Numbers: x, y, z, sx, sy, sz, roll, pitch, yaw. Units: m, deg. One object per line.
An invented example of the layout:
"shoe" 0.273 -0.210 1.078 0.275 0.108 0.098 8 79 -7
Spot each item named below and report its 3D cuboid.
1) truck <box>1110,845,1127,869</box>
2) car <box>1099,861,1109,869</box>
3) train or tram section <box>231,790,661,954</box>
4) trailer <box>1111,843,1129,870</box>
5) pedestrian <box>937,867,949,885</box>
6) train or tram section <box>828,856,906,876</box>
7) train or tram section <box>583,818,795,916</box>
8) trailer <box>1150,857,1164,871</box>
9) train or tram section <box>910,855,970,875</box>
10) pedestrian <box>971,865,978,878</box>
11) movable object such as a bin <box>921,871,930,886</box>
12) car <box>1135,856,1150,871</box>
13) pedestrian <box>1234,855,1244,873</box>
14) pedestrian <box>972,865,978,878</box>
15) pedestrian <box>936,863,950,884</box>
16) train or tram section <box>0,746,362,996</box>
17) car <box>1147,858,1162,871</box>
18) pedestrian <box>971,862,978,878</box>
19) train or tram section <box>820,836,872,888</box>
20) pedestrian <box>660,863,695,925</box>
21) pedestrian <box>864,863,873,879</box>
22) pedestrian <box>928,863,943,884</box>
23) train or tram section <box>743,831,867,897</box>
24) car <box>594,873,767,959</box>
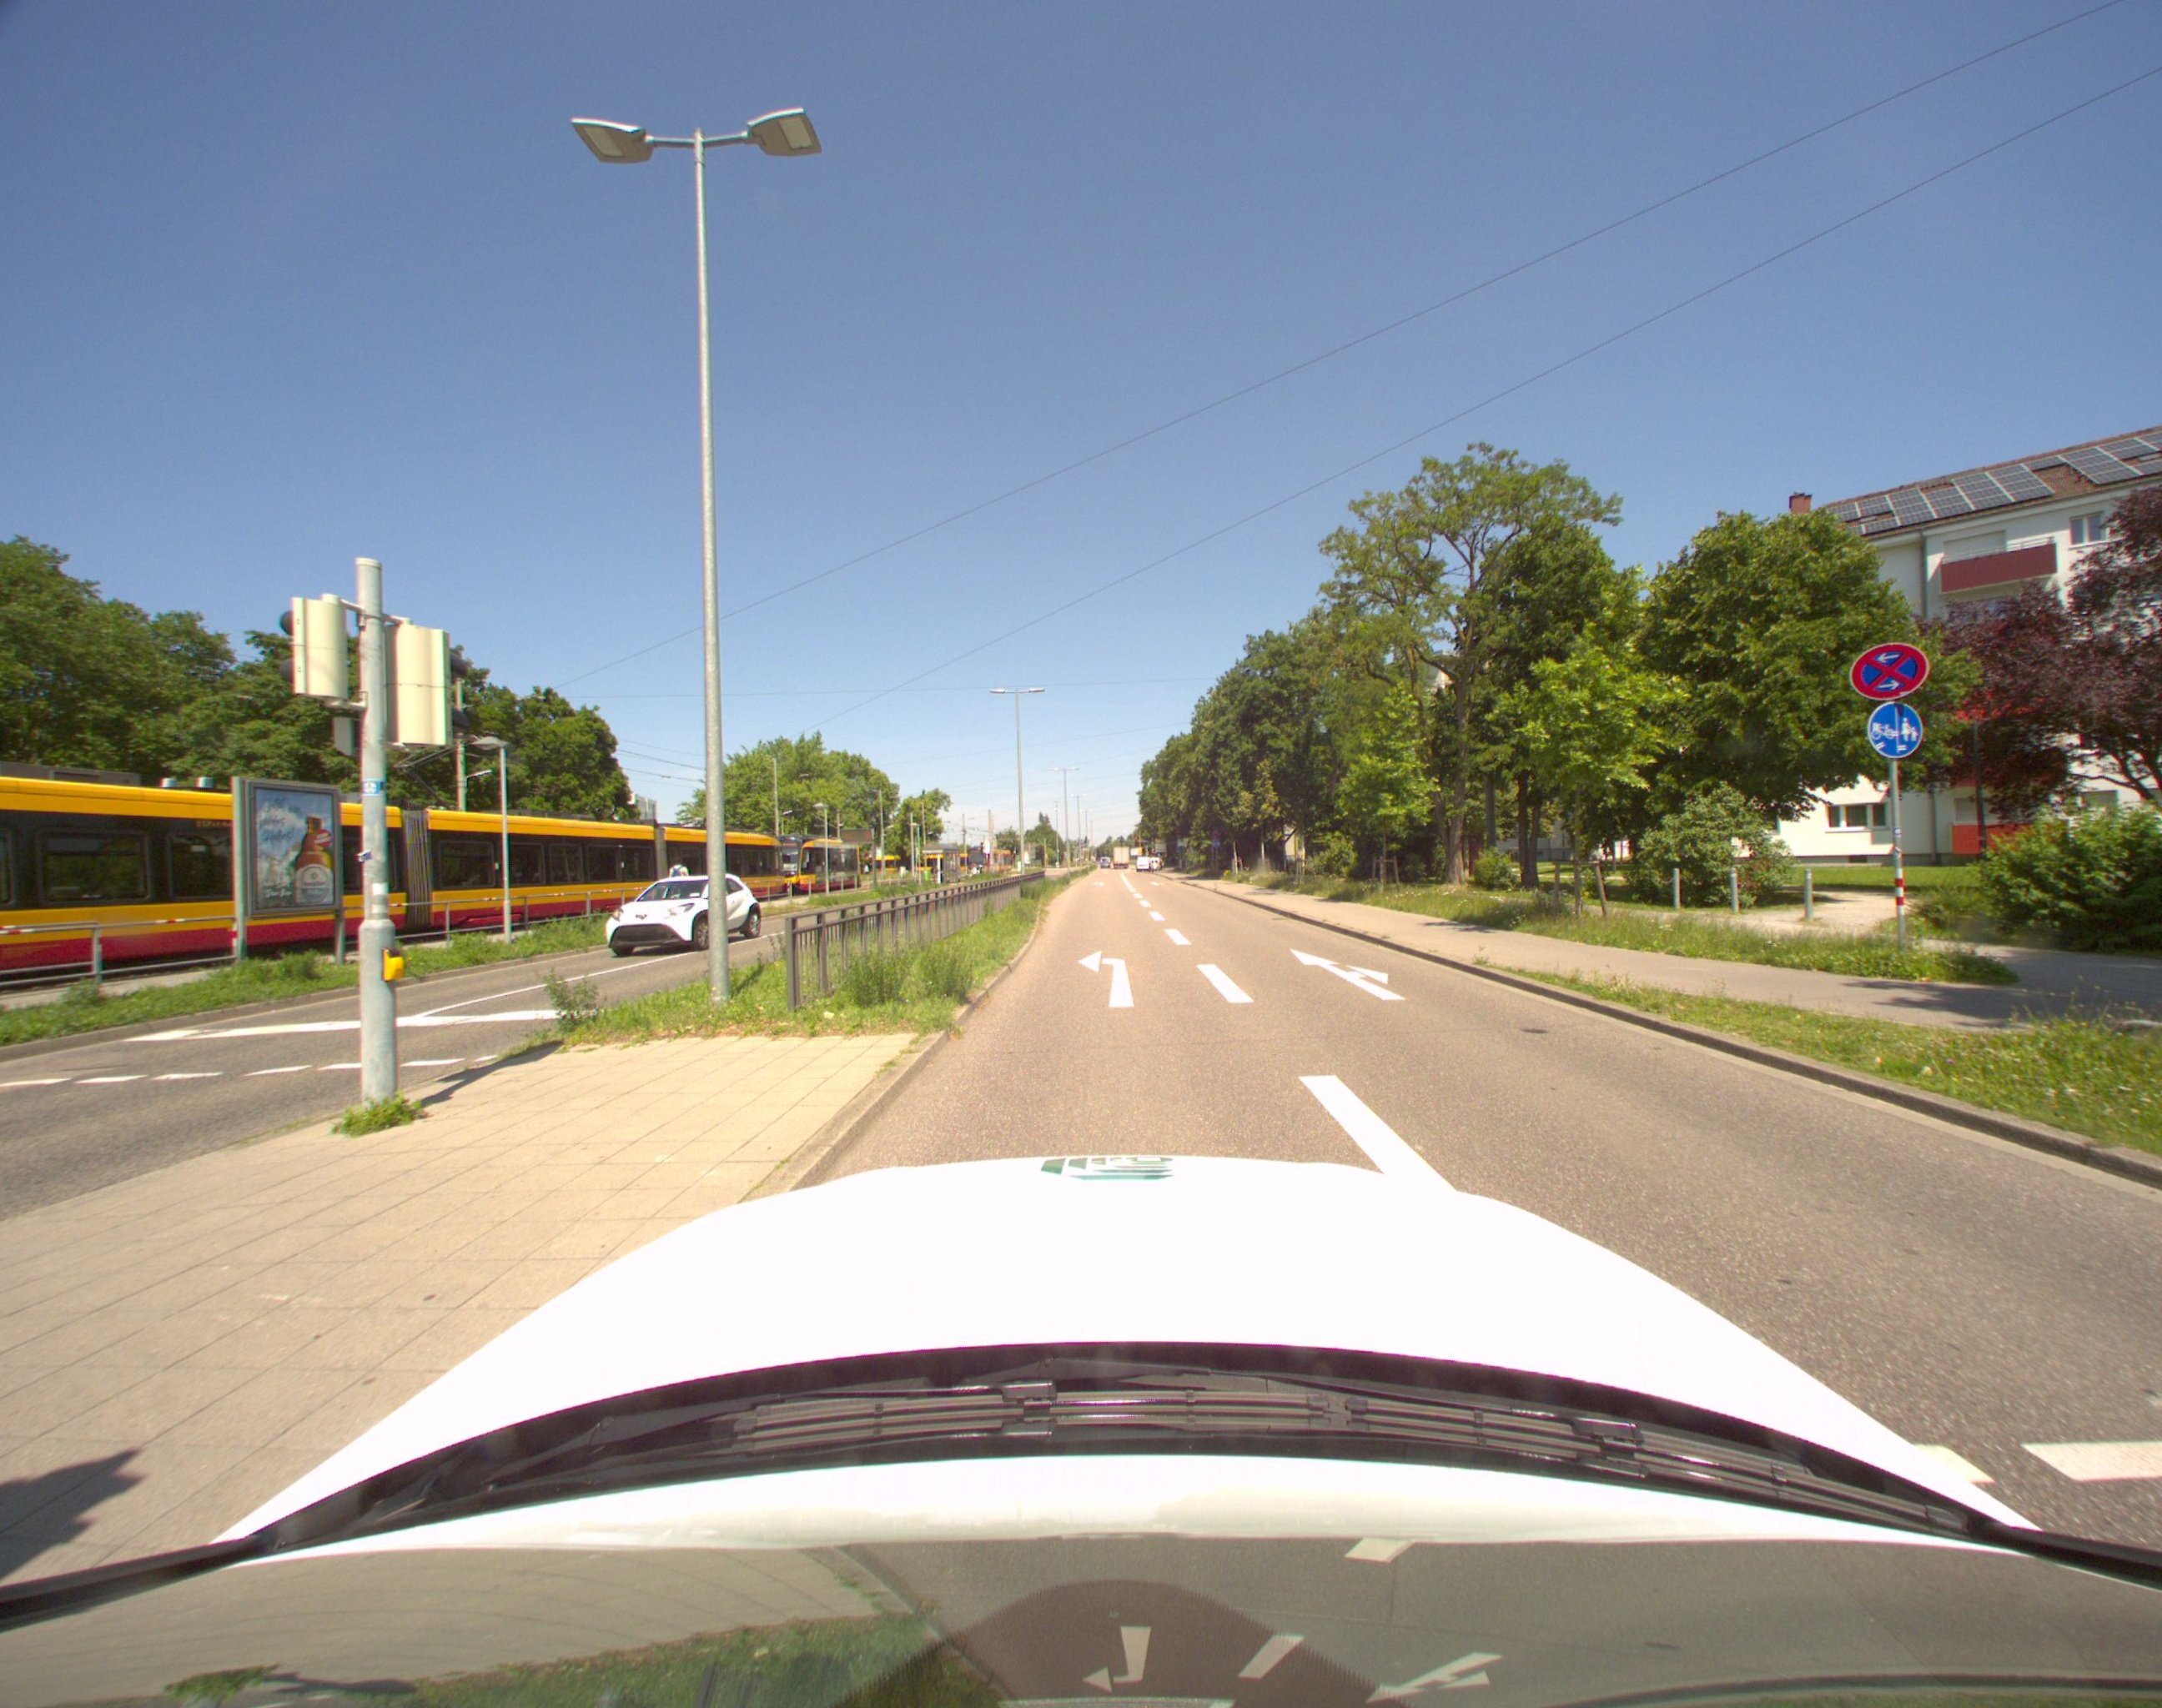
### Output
"truck" 6.720 0.482 147.937 2.817 4.344 8.284 0 0 0
"car" 4.220 2.006 150.566 1.886 1.372 4.431 1 0 1
"train or tram section" -17.848 0.439 25.021 3.032 3.741 12.599 0 0 2
"trailer" 6.642 0.482 139.377 2.818 4.421 8.748 0 0 0
"pedestrian" -9.944 1.557 58.809 0.699 1.283 0.840 0 -1 -1
"train or tram section" -37.961 2.061 144.641 13.239 3.466 3.032 0 0 -14
"train or tram section" -17.415 0.520 38.006 3.032 3.767 13.268 0 0 2
"trailer" 9.665 1.250 103.930 1.464 1.669 2.856 0 0 0
"train or tram section" -24.380 1.874 140.243 12.589 3.466 3.065 -1 -1 43
"pedestrian" -10.003 1.669 76.411 0.579 1.189 0.536 0 -1 -1
"movable object such as a bin" -10.499 1.641 55.109 0.480 0.978 0.644 -2 -1 -3
"car" 7.398 1.171 97.926 1.702 1.747 4.432 0 0 4
"pedestrian" 12.977 0.819 66.954 0.705 1.398 0.763 0 -1 3
"pedestrian" -9.985 1.642 76.903 0.492 1.189 0.401 0 -1 1
"pedestrian" -10.213 1.441 60.463 0.871 1.546 1.026 0 -1 -1
"train or tram section" -18.152 0.269 12.955 2.939 3.855 11.544 0 0 2
"car" 9.688 1.314 107.574 1.694 1.654 4.398 0 0 1
"pedestrian" -10.171 1.543 77.812 0.533 1.565 0.582 0 -1 0
"train or tram section" -18.013 0.616 63.248 3.046 3.624 12.398 0 0 -12
"pedestrian" -11.790 1.151 23.786 0.630 1.791 0.776 0 -1 0
"pedestrian" -20.255 1.604 77.459 0.802 1.565 0.534 0 -1 -13
"pedestrian" -11.004 1.452 61.597 0.927 1.546 0.985 0 -1 -1
"train or tram section" -16.963 0.594 51.564 3.033 3.624 13.896 0 0 0
"car" -8.238 1.203 17.165 1.763 1.505 3.719 -2 0 0
